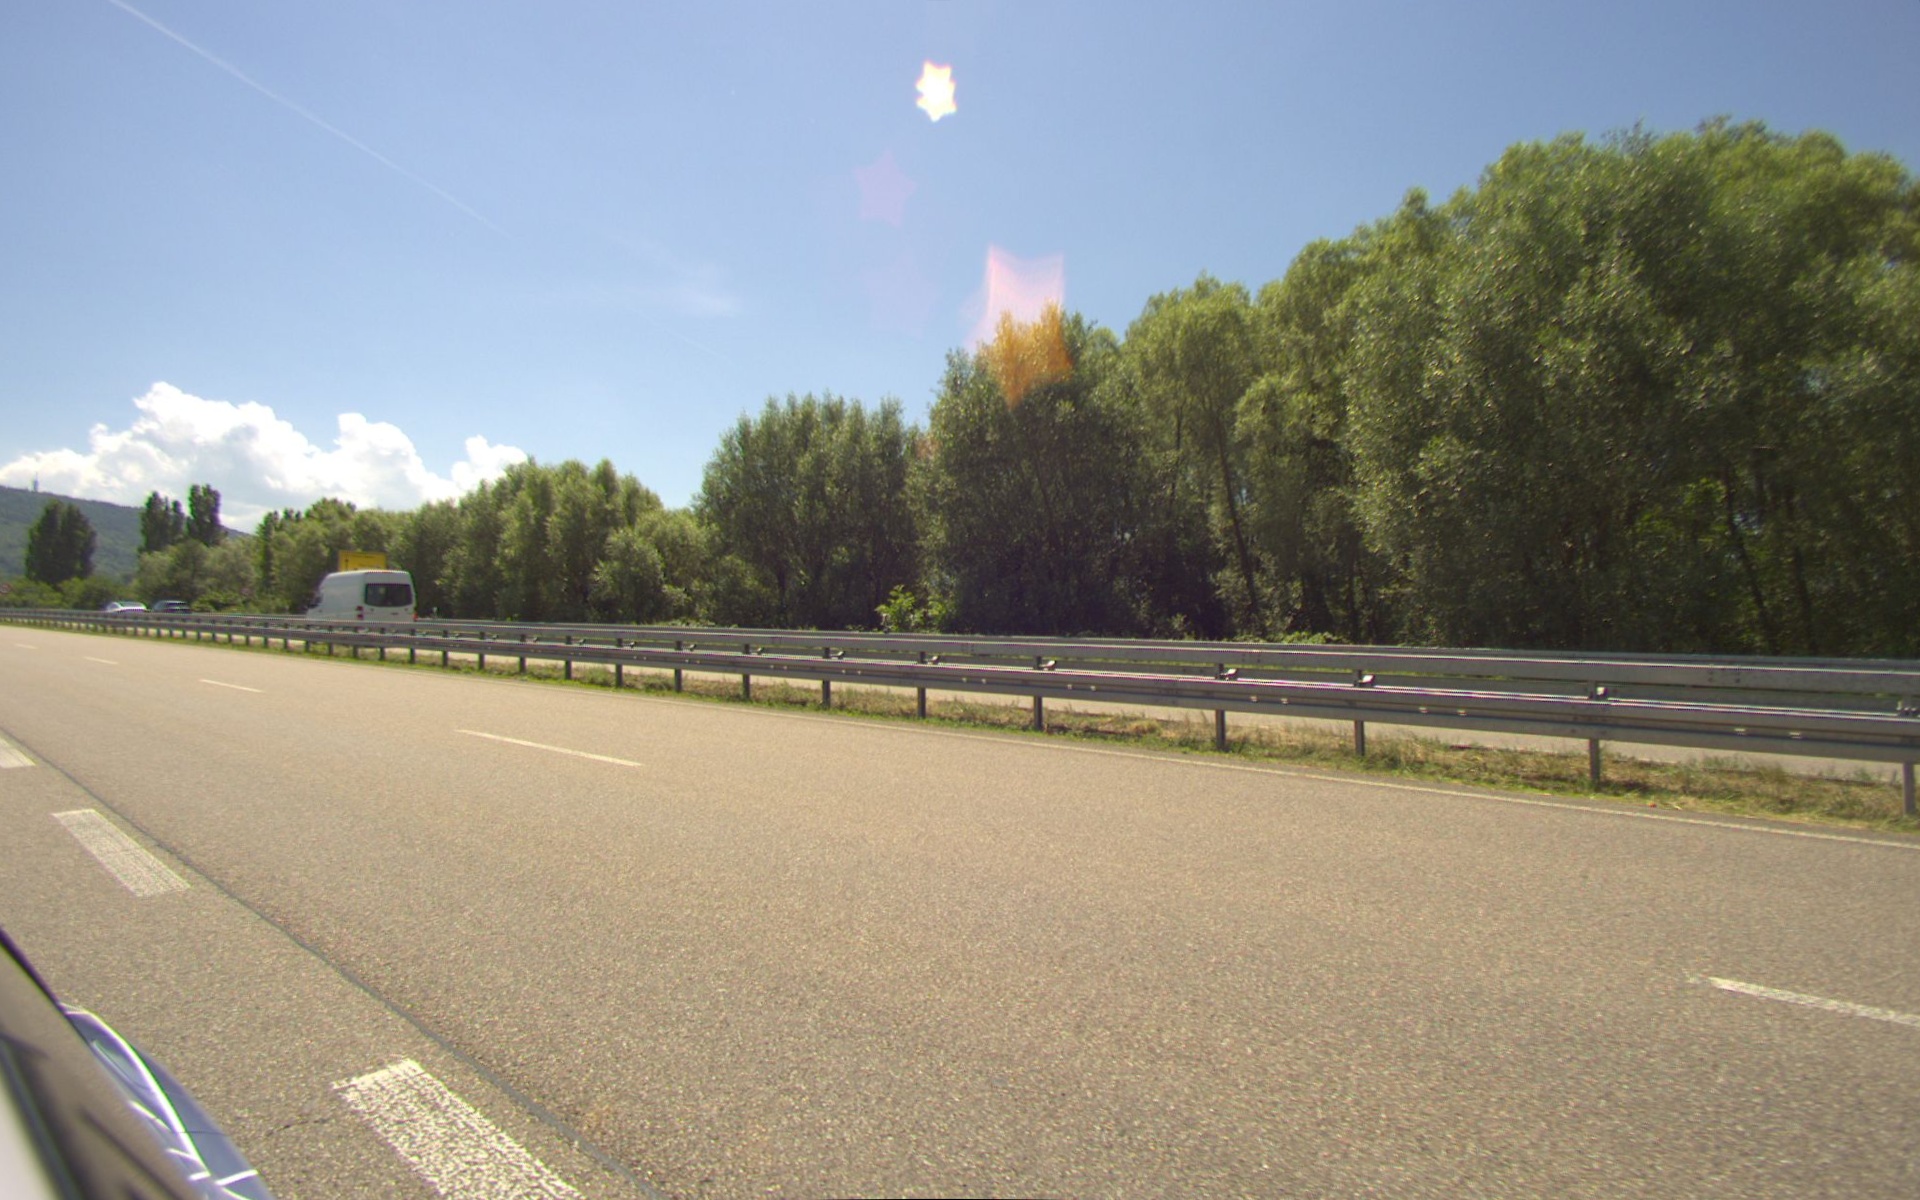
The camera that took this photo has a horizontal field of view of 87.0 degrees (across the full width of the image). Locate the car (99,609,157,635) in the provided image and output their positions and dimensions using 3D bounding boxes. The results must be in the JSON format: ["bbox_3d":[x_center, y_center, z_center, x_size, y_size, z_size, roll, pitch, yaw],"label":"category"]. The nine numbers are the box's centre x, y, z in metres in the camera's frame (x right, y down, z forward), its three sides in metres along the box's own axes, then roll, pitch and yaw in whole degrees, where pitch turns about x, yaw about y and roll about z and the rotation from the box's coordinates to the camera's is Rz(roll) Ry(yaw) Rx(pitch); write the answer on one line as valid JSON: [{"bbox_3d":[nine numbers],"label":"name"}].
[{"bbox_3d":[-49.267,1.288,59.915,3.995,1.500,1.899,0,-1,39],"label":"car"}]

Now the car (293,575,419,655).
[{"bbox_3d":[-22.268,0.541,37.144,6.625,2.703,2.080,-1,-1,42],"label":"car"}]

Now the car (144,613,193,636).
[{"bbox_3d":[-53.832,1.648,68.811,4.068,1.563,1.673,0,-1,37],"label":"car"}]
